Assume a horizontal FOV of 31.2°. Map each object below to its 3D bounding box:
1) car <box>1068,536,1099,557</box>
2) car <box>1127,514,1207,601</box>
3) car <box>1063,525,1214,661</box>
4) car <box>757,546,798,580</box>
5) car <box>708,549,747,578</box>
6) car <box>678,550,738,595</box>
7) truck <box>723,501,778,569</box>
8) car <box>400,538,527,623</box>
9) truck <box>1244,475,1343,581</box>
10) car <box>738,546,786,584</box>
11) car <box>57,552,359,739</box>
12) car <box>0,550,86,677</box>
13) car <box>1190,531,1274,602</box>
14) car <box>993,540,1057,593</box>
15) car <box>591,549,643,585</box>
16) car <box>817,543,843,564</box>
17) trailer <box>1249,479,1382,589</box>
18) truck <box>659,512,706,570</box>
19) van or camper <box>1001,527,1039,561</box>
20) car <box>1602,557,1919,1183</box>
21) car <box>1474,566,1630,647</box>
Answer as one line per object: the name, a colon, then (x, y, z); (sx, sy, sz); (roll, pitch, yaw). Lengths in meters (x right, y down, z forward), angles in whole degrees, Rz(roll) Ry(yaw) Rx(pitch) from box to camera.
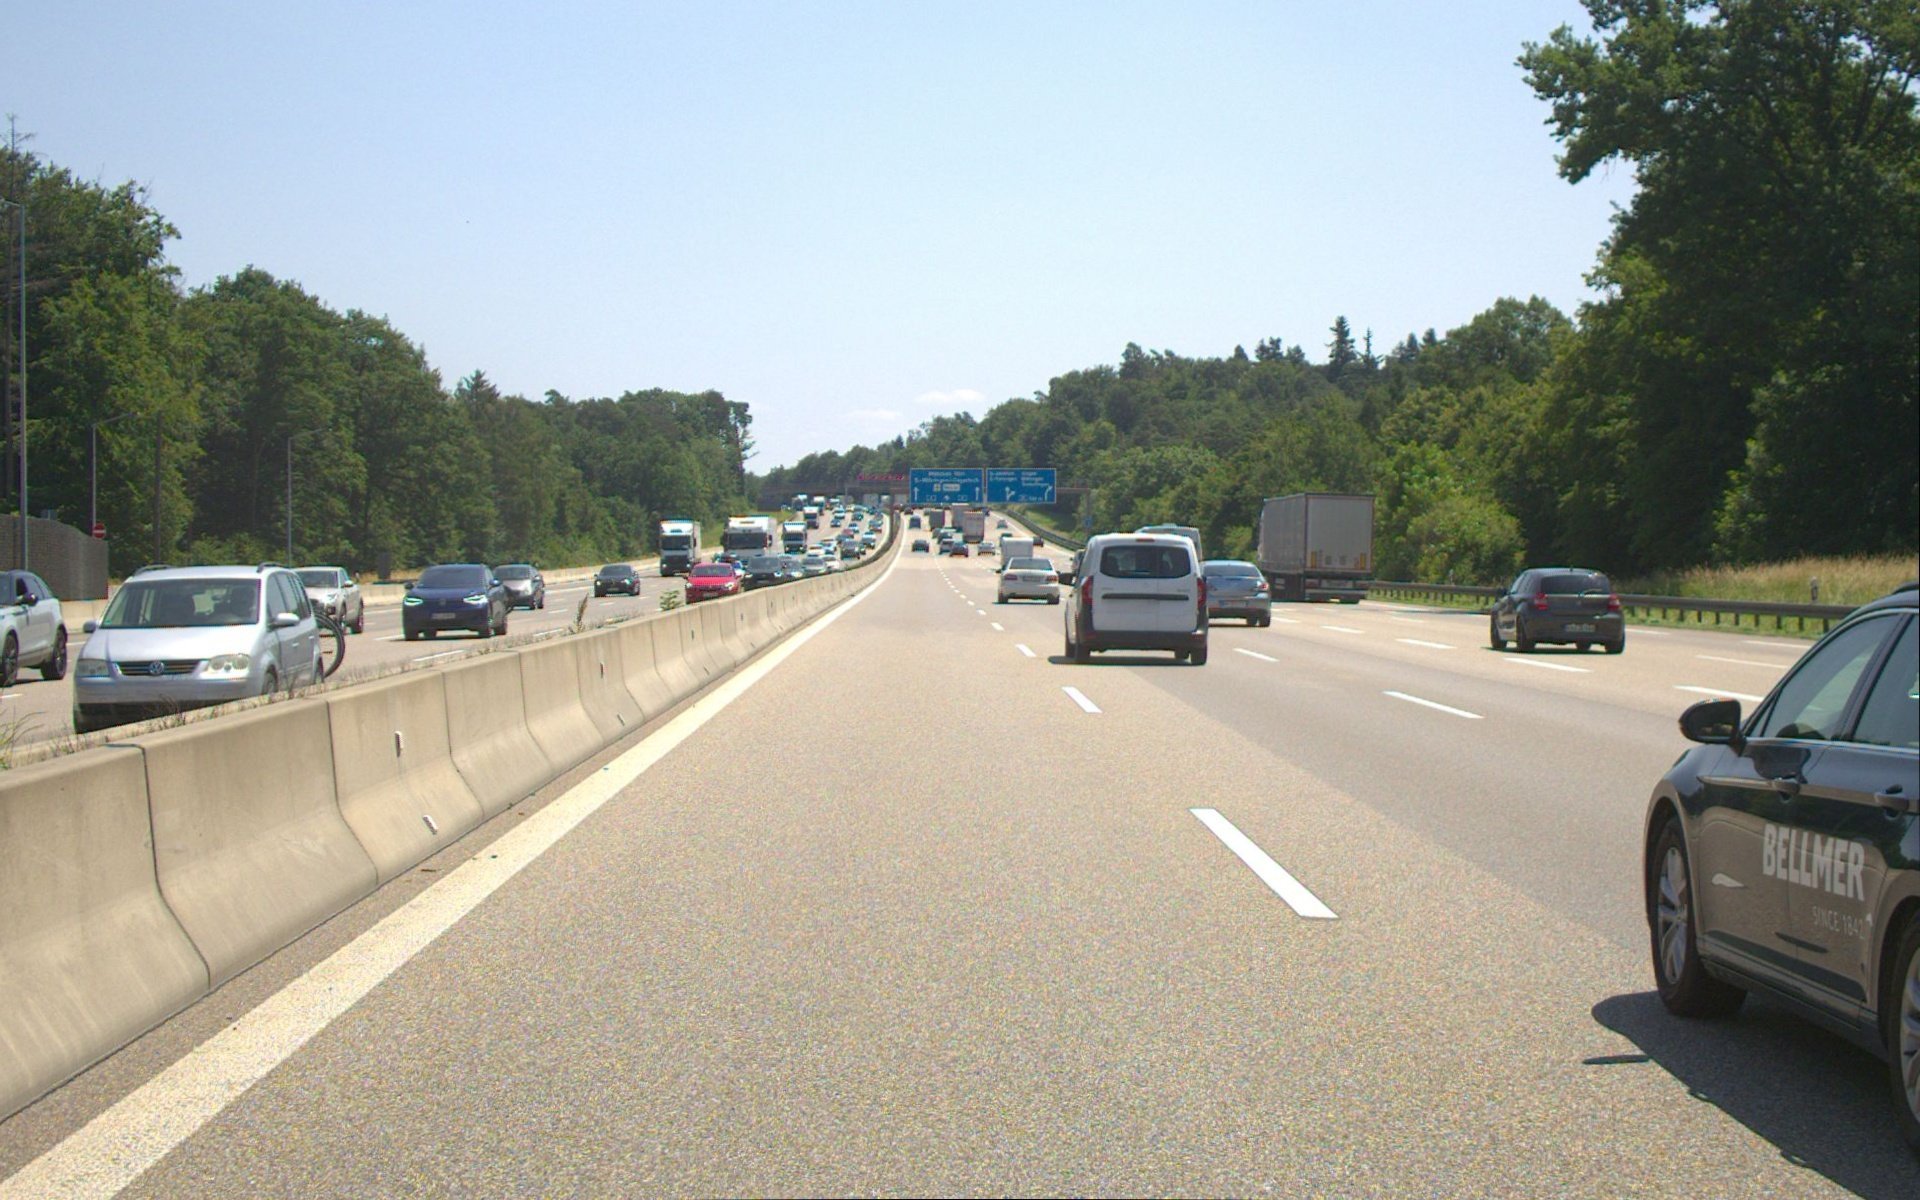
car: (8.192, -3.544, 228.173); (1.835, 1.333, 3.643); (-1, 1, -1)
car: (6.581, -1.399, 109.861); (2.143, 2.643, 5.710); (1, 2, -1)
car: (2.470, -0.132, 48.543); (1.859, 1.819, 4.612); (-1, 1, 0)
car: (-9.409, -1.922, 177.696); (1.993, 1.657, 4.972); (-1, 1, -2)
car: (-12.896, -2.025, 190.663); (1.993, 1.482, 5.019); (-2, 1, -2)
car: (-8.713, -0.971, 119.121); (1.730, 1.508, 5.045); (0, 1, -1)
truck: (-12.995, -4.034, 213.399); (3.047, 4.122, 6.949); (-1, 1, -1)
car: (-10.897, -0.458, 75.887); (1.993, 1.768, 5.924); (-1, 1, -1)
truck: (13.463, -2.948, 139.141); (3.254, 4.092, 5.988); (1, 2, -1)
car: (-8.872, -1.588, 154.370); (1.993, 1.657, 5.755); (-1, 1, -2)
car: (-7.179, 0.371, 33.367); (1.784, 1.637, 5.463); (-1, 1, -1)
car: (-14.411, 0.161, 50.306); (1.993, 1.768, 5.039); (-1, 1, -1)
car: (5.986, -0.744, 76.003); (1.503, 1.495, 3.650); (-1, 1, -1)
car: (2.012, -1.062, 108.168); (1.843, 1.623, 4.553); (-1, 1, -1)
car: (-15.773, -1.535, 158.300); (1.993, 1.615, 5.755); (-1, 1, -2)
car: (-9.009, -3.235, 237.547); (1.747, 1.452, 4.157); (0, 1, -3)
trailer: (13.599, -2.629, 132.697); (3.287, 3.917, 13.892); (1, 2, -1)
truck: (-20.656, -4.425, 256.520); (2.835, 4.183, 10.597); (-1, 1, -1)
van or camper: (4.528, -4.210, 259.570); (2.645, 2.530, 6.502); (0, 1, -1)
car: (3.127, 0.638, 9.522); (1.729, 1.442, 4.961); (2, 1, 0)
car: (9.953, 0.077, 58.066); (1.670, 1.269, 4.290); (-1, 1, -3)
